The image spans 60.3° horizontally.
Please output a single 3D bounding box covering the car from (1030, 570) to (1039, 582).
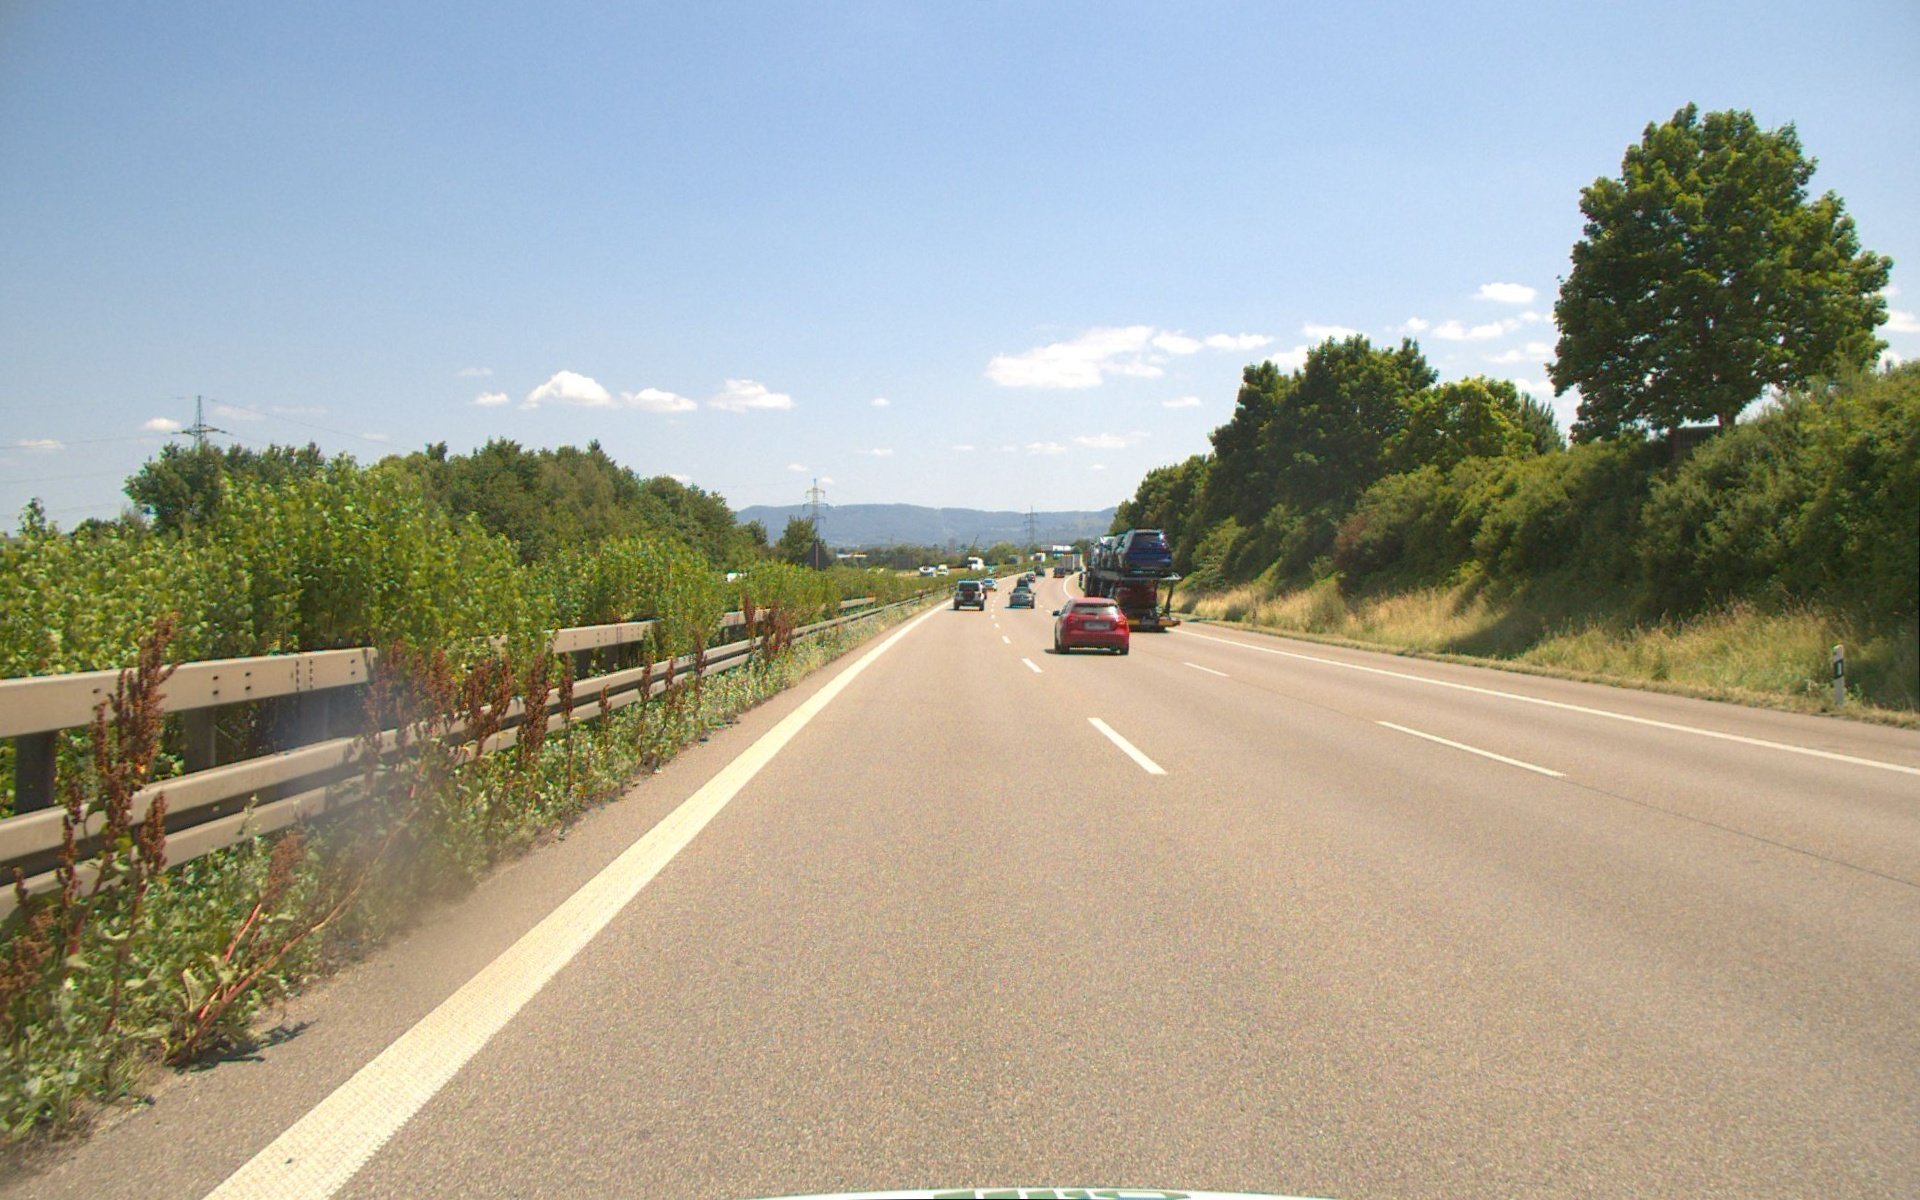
[{"bbox_3d":[11.762,-3.774,260.424,1.367,1.734,3.003,1,1,4],"label":"car"}]

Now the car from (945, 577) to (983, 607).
[{"bbox_3d":[0.231,-0.510,106.181,2.043,1.861,4.749,1,1,-5],"label":"car"}]

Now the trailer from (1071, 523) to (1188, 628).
[{"bbox_3d":[7.128,-1.052,72.286,2.798,4.063,15.389,1,1,-3],"label":"trailer"}]

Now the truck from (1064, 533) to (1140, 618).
[{"bbox_3d":[6.797,-1.179,80.003,2.699,3.920,6.640,1,1,-3],"label":"truck"}]

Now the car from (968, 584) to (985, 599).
[{"bbox_3d":[1.477,-0.738,148.994,1.425,1.289,3.338,1,1,2],"label":"car"}]

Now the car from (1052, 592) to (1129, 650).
[{"bbox_3d":[3.372,0.513,43.322,1.651,1.403,3.948,1,1,-1],"label":"car"}]

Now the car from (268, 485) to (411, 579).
[{"bbox_3d":[-13.236,-1.411,35.511,1.596,1.860,3.769,1,1,0],"label":"car"}]

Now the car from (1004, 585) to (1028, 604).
[{"bbox_3d":[3.924,-0.427,116.365,1.423,1.289,3.538,1,1,-1],"label":"car"}]

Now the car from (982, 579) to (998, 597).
[{"bbox_3d":[3.626,-1.399,196.716,1.662,2.049,3.824,1,1,4],"label":"car"}]

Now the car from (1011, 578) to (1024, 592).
[{"bbox_3d":[7.710,-1.990,221.194,1.601,1.734,3.403,1,1,4],"label":"car"}]
